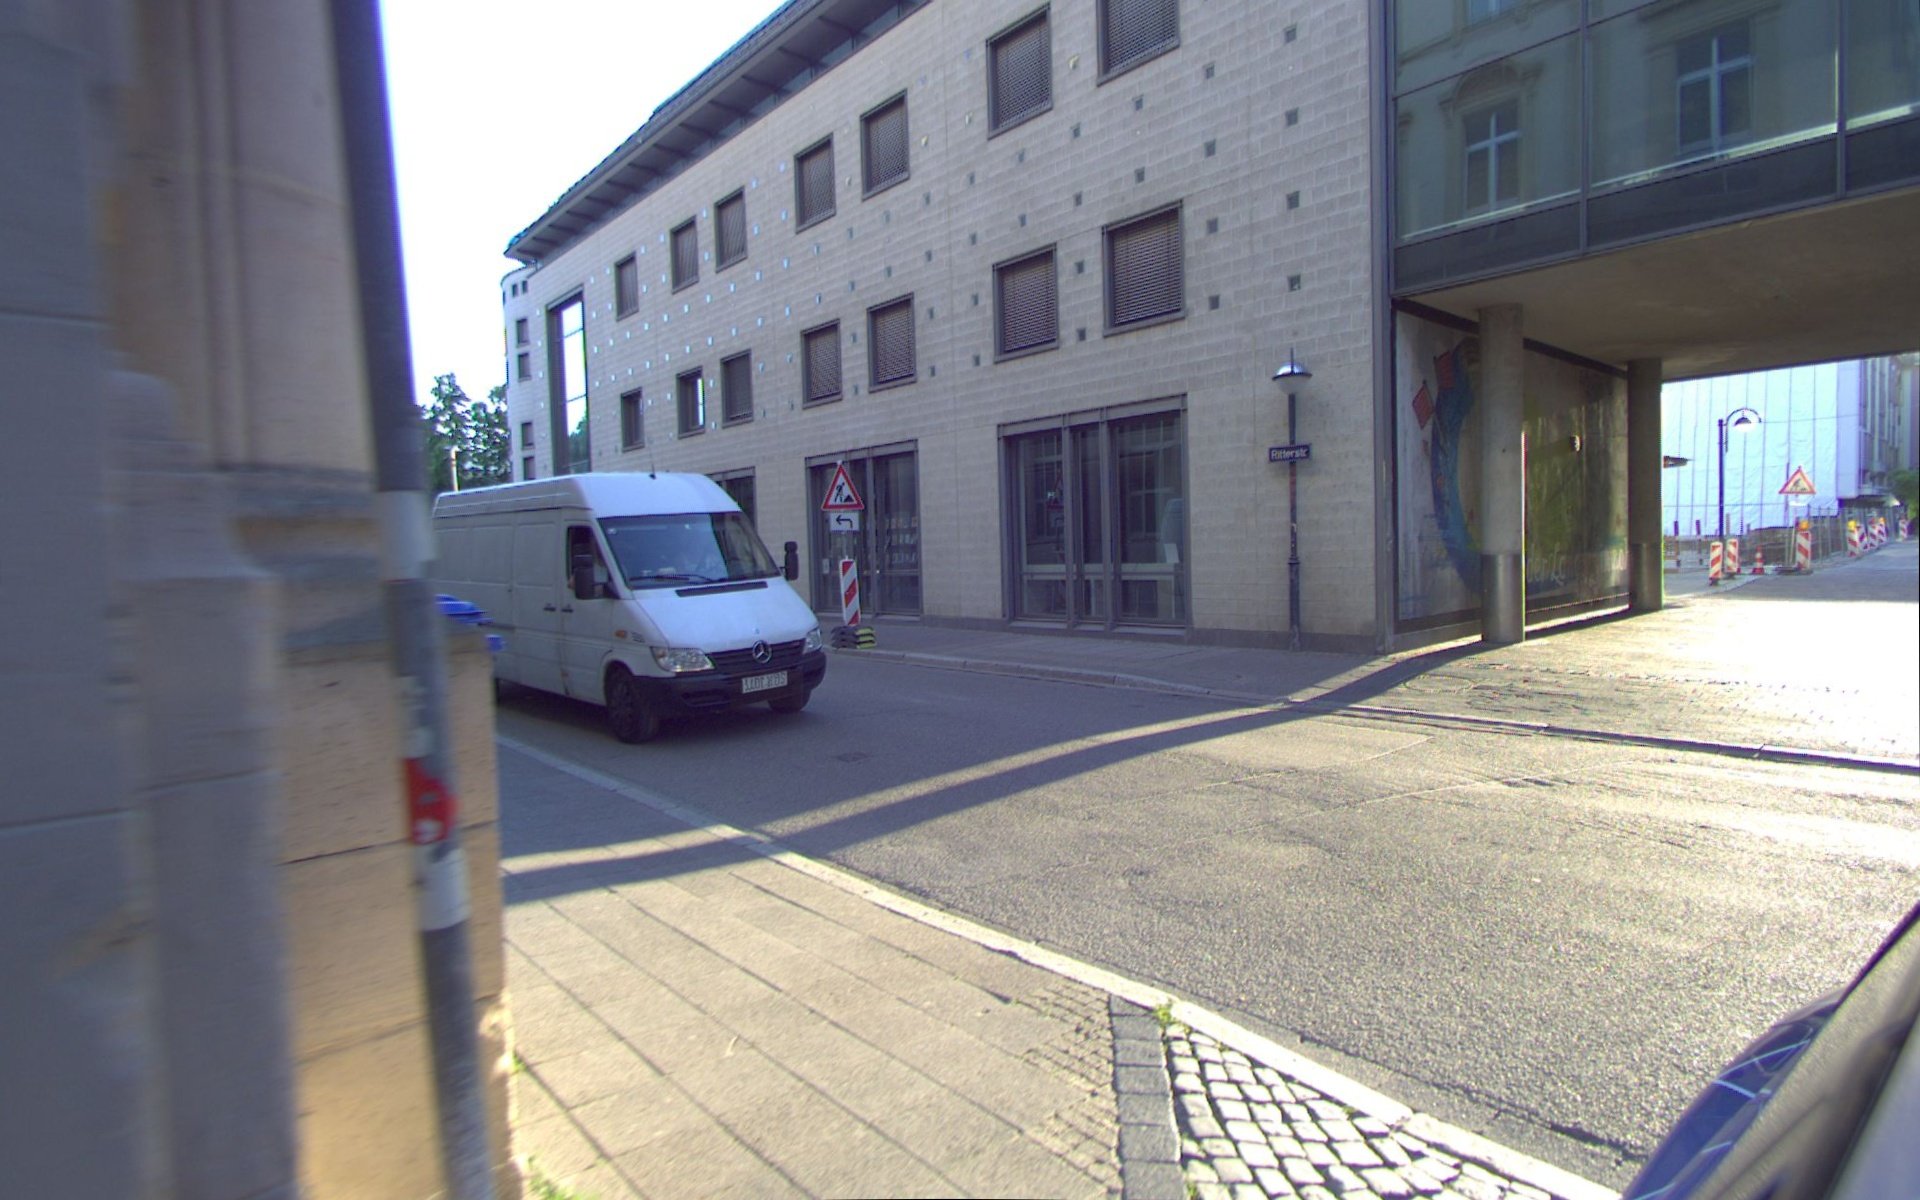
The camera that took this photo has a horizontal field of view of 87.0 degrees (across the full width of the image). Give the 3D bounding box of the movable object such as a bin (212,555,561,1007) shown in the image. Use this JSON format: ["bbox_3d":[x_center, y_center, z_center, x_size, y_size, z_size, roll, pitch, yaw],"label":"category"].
[{"bbox_3d":[-2.372,0.576,4.145,1.058,1.493,1.186,-2,2,-38],"label":"movable object such as a bin"}]

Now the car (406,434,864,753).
[{"bbox_3d":[-3.903,-0.190,11.066,1.971,2.541,6.453,-7,6,-44],"label":"car"}]
